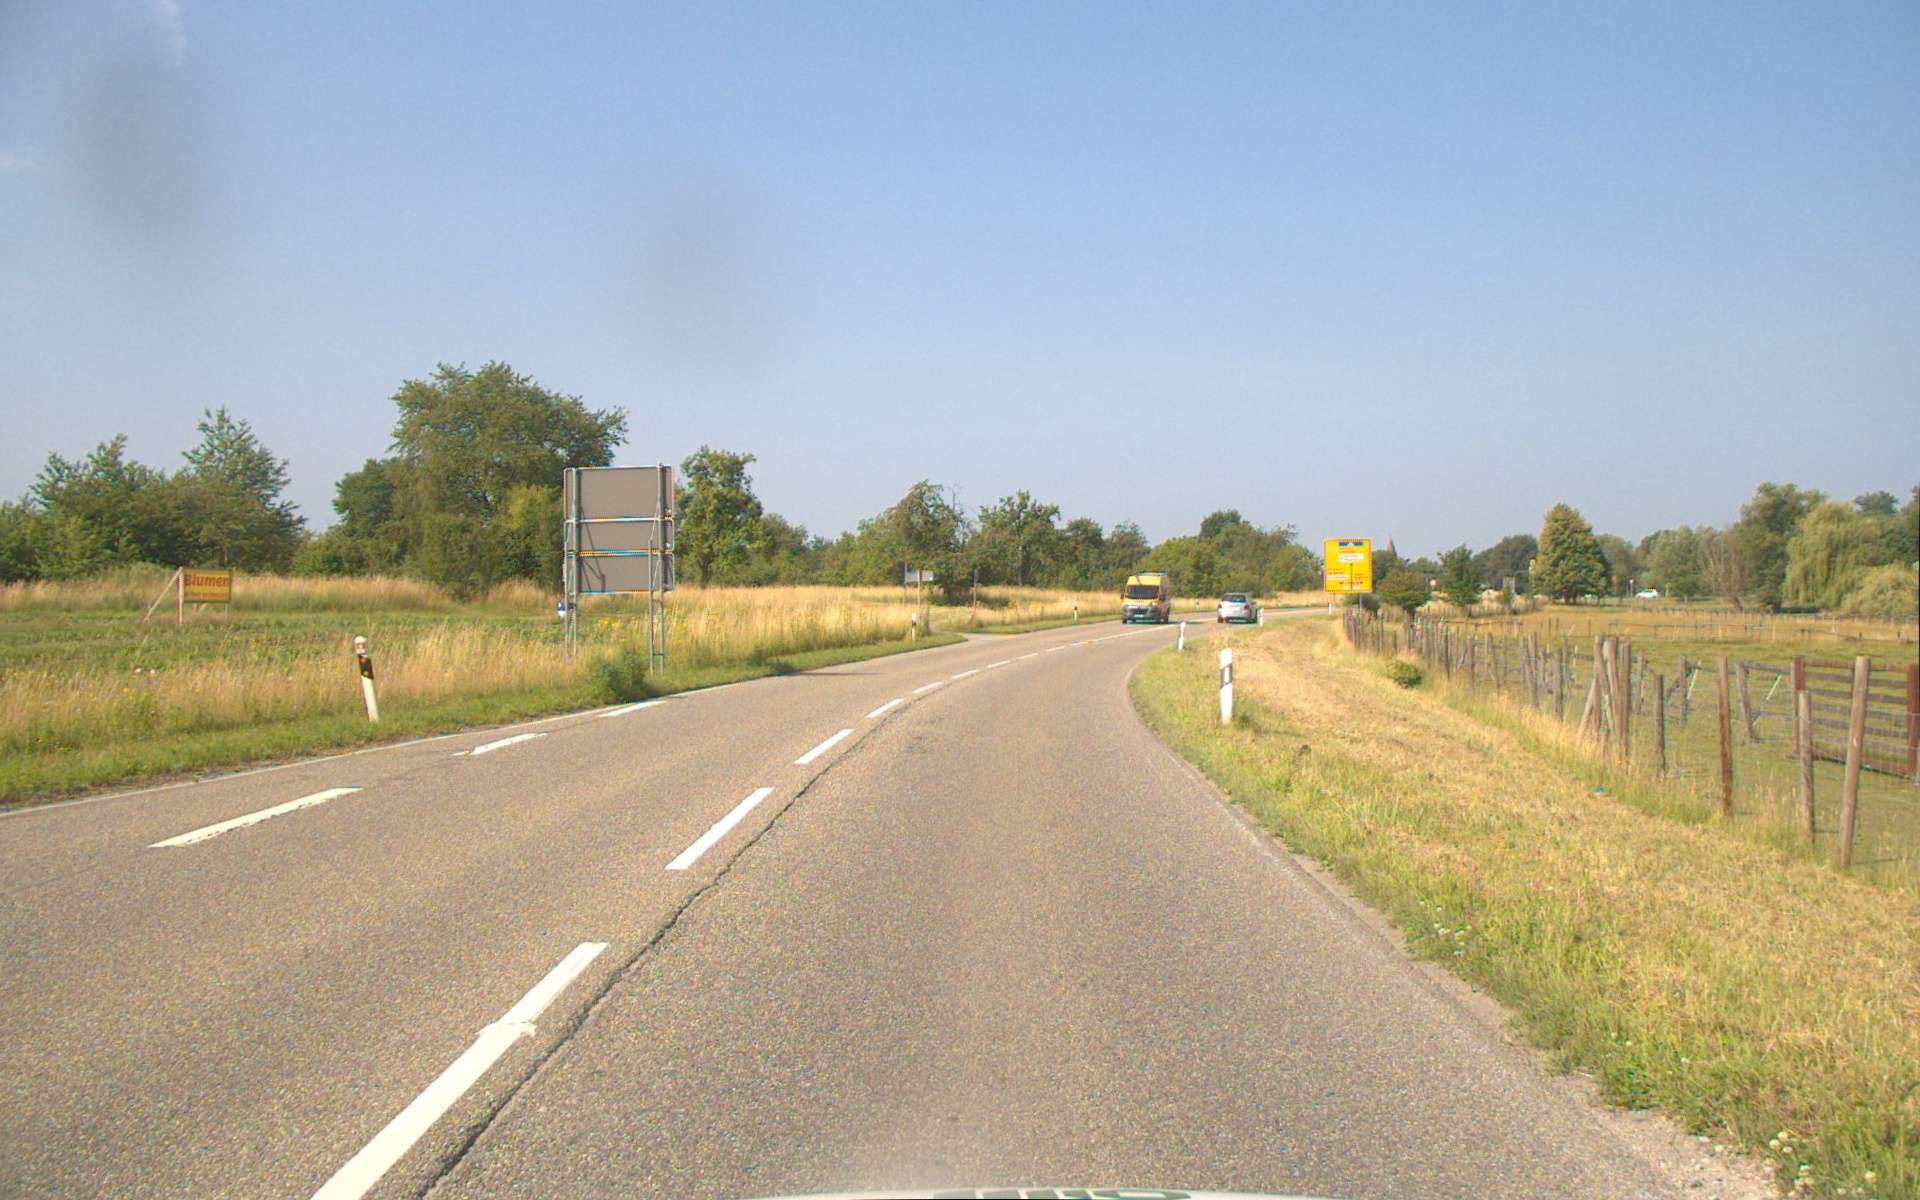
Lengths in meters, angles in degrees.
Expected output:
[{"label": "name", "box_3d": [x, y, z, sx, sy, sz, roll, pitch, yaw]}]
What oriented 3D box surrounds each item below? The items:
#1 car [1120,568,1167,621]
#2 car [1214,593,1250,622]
[{"label": "car", "box_3d": [9.861, -0.303, 88.463, 2.078, 2.743, 5.273, 1, 0, 11]}, {"label": "car", "box_3d": [15.073, 0.387, 91.547, 1.858, 1.538, 4.003, 1, 0, 10]}]
